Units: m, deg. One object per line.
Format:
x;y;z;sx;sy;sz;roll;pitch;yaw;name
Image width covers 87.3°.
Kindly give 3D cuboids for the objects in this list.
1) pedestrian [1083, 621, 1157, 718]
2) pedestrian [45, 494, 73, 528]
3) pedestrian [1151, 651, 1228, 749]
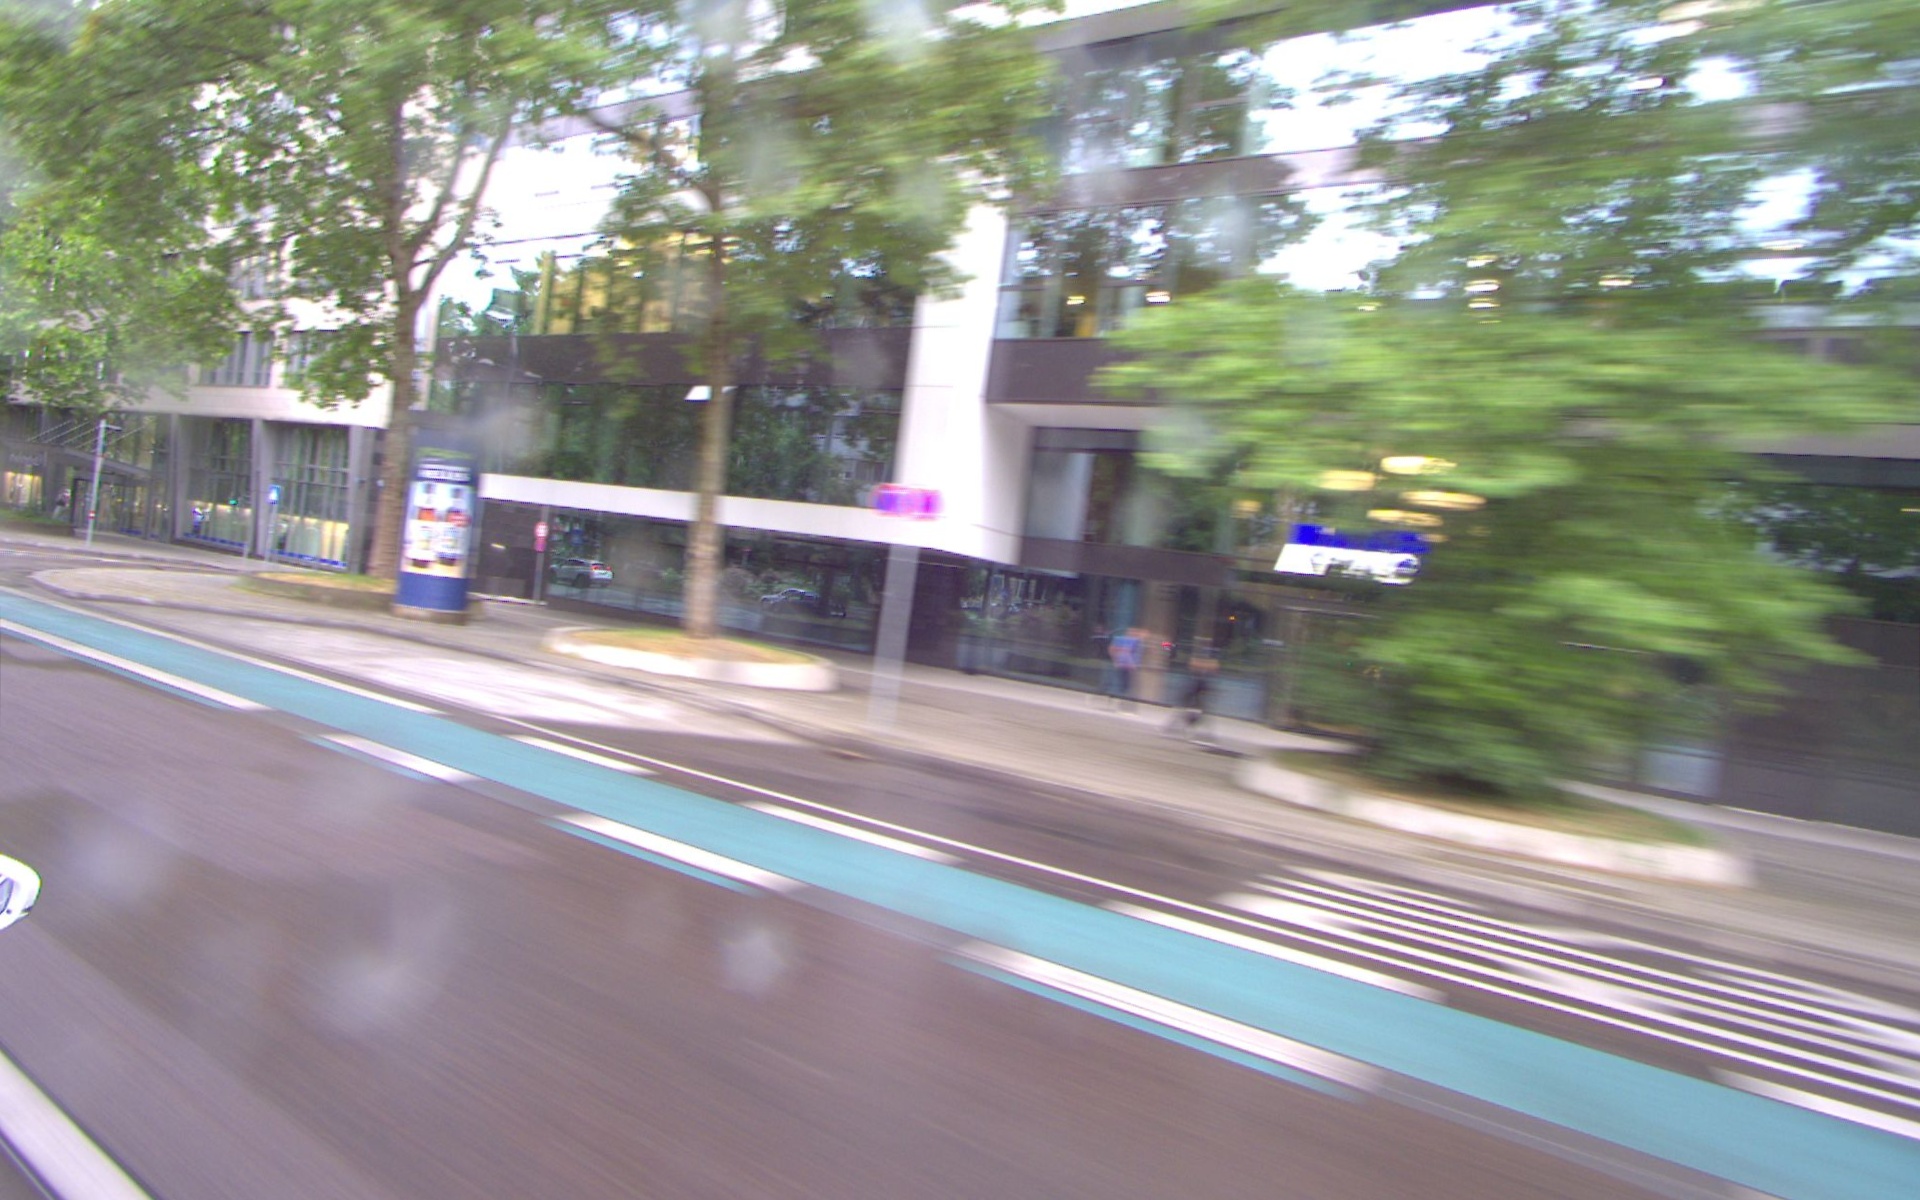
3.291;1.413;20.710;1.070;1.818;0.786;8;3;35;pedestrian
-48.472;-4.781;54.145;0.718;1.714;0.825;7;2;-16;pedestrian
3.968;1.708;17.381;0.988;1.524;0.587;7;1;32;pedestrian
